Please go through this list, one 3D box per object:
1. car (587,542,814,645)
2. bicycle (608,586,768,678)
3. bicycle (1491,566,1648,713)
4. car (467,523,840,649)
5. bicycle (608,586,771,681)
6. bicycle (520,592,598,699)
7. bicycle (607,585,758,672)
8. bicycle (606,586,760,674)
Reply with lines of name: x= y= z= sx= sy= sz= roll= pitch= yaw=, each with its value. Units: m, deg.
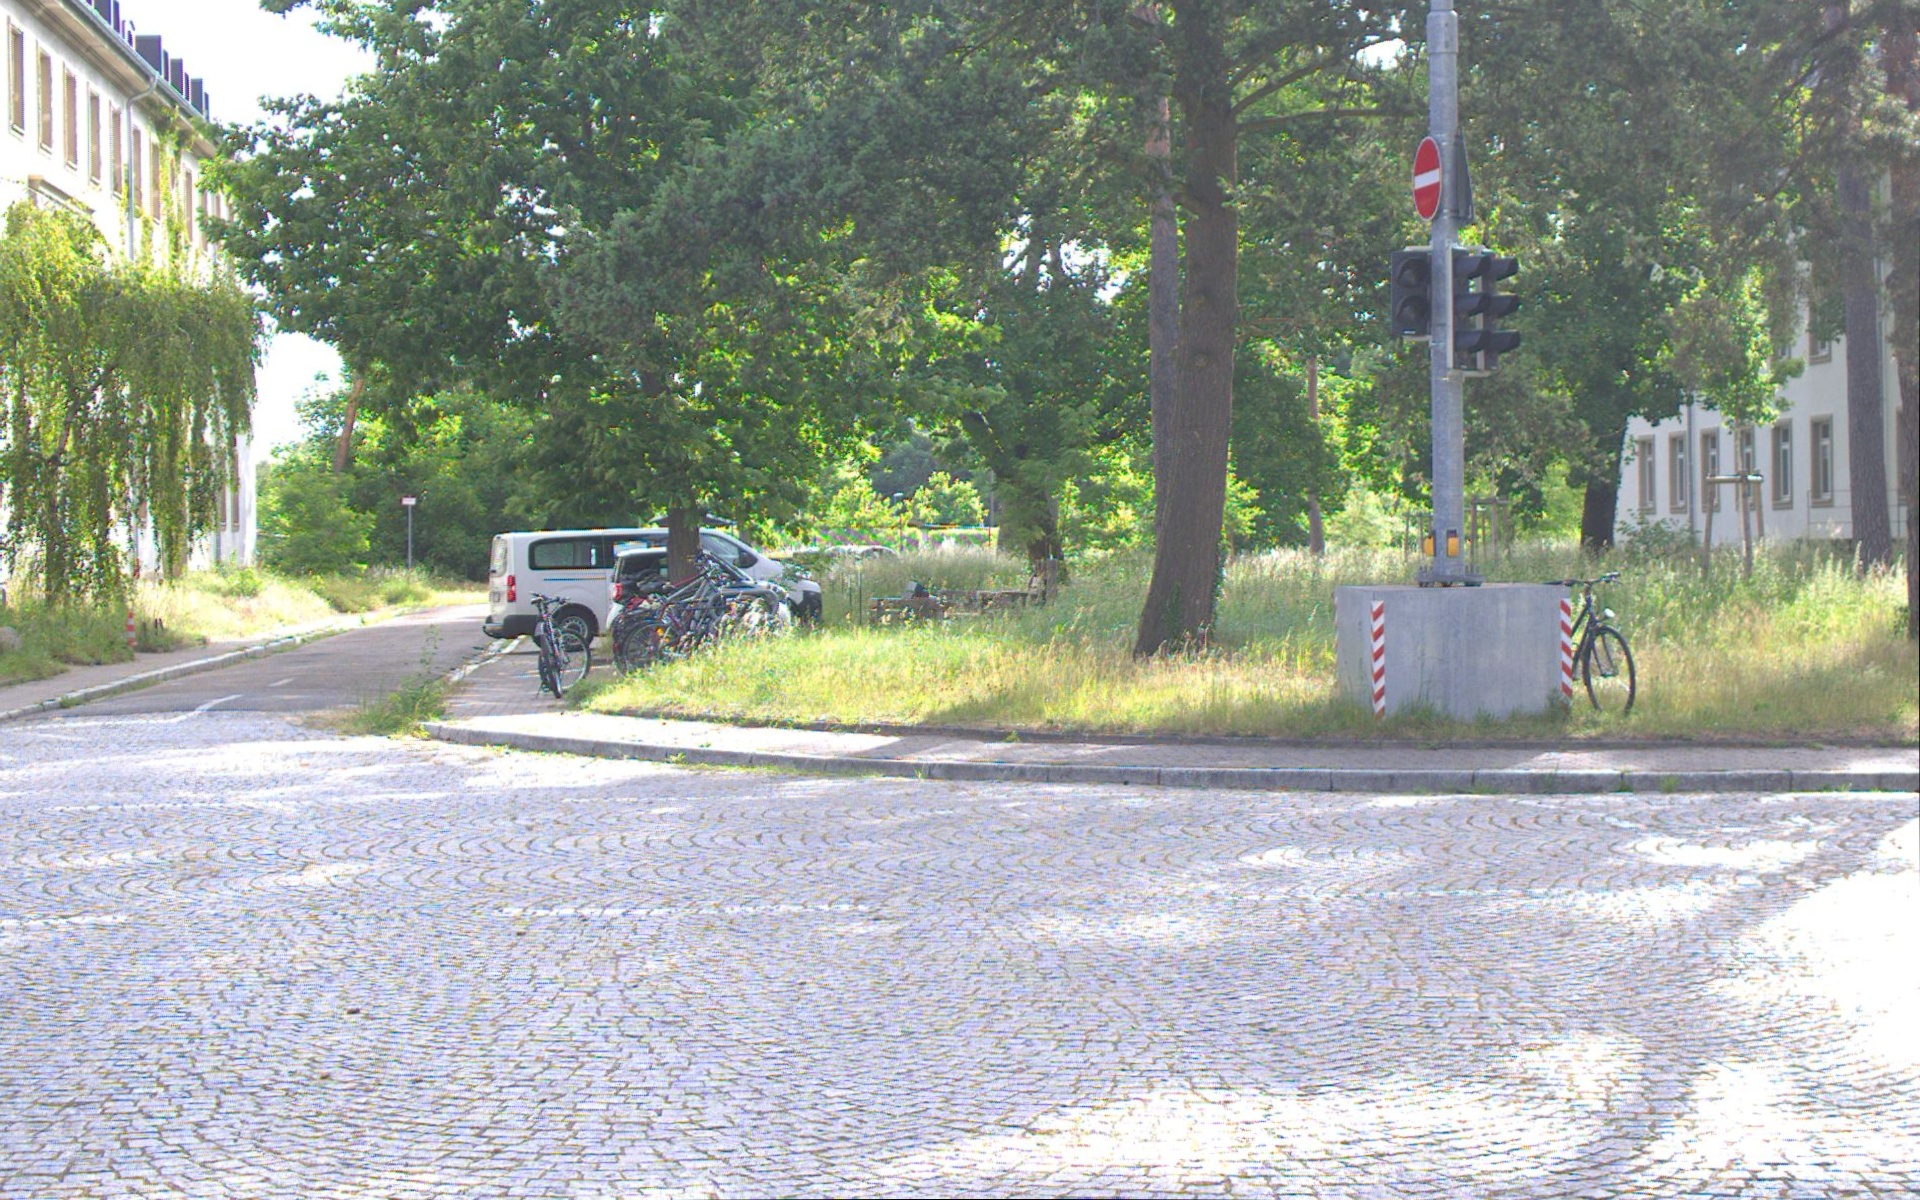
car: x=-3.864 y=-0.097 z=51.048 sx=3.031 sy=1.460 sz=1.720 roll=-1 pitch=0 yaw=-18
bicycle: x=-3.147 y=0.366 z=39.721 sx=1.792 sy=0.995 sz=0.644 roll=-1 pitch=2 yaw=-6
bicycle: x=4.435 y=0.269 z=25.126 sx=0.562 sy=0.995 sz=1.752 roll=-1 pitch=2 yaw=-9
car: x=-4.869 y=-0.241 z=54.540 sx=5.499 sy=1.909 sz=2.255 roll=-1 pitch=0 yaw=-19
bicycle: x=-3.049 y=0.371 z=38.705 sx=1.792 sy=0.995 sz=0.644 roll=-1 pitch=2 yaw=-6
bicycle: x=-4.076 y=0.447 z=35.011 sx=0.728 sy=0.995 sz=1.799 roll=-1 pitch=2 yaw=-5
bicycle: x=-3.388 y=0.348 z=41.948 sx=1.792 sy=0.995 sz=0.644 roll=-1 pitch=2 yaw=-6
bicycle: x=-3.325 y=0.355 z=41.212 sx=1.792 sy=0.995 sz=0.644 roll=-1 pitch=2 yaw=-6
